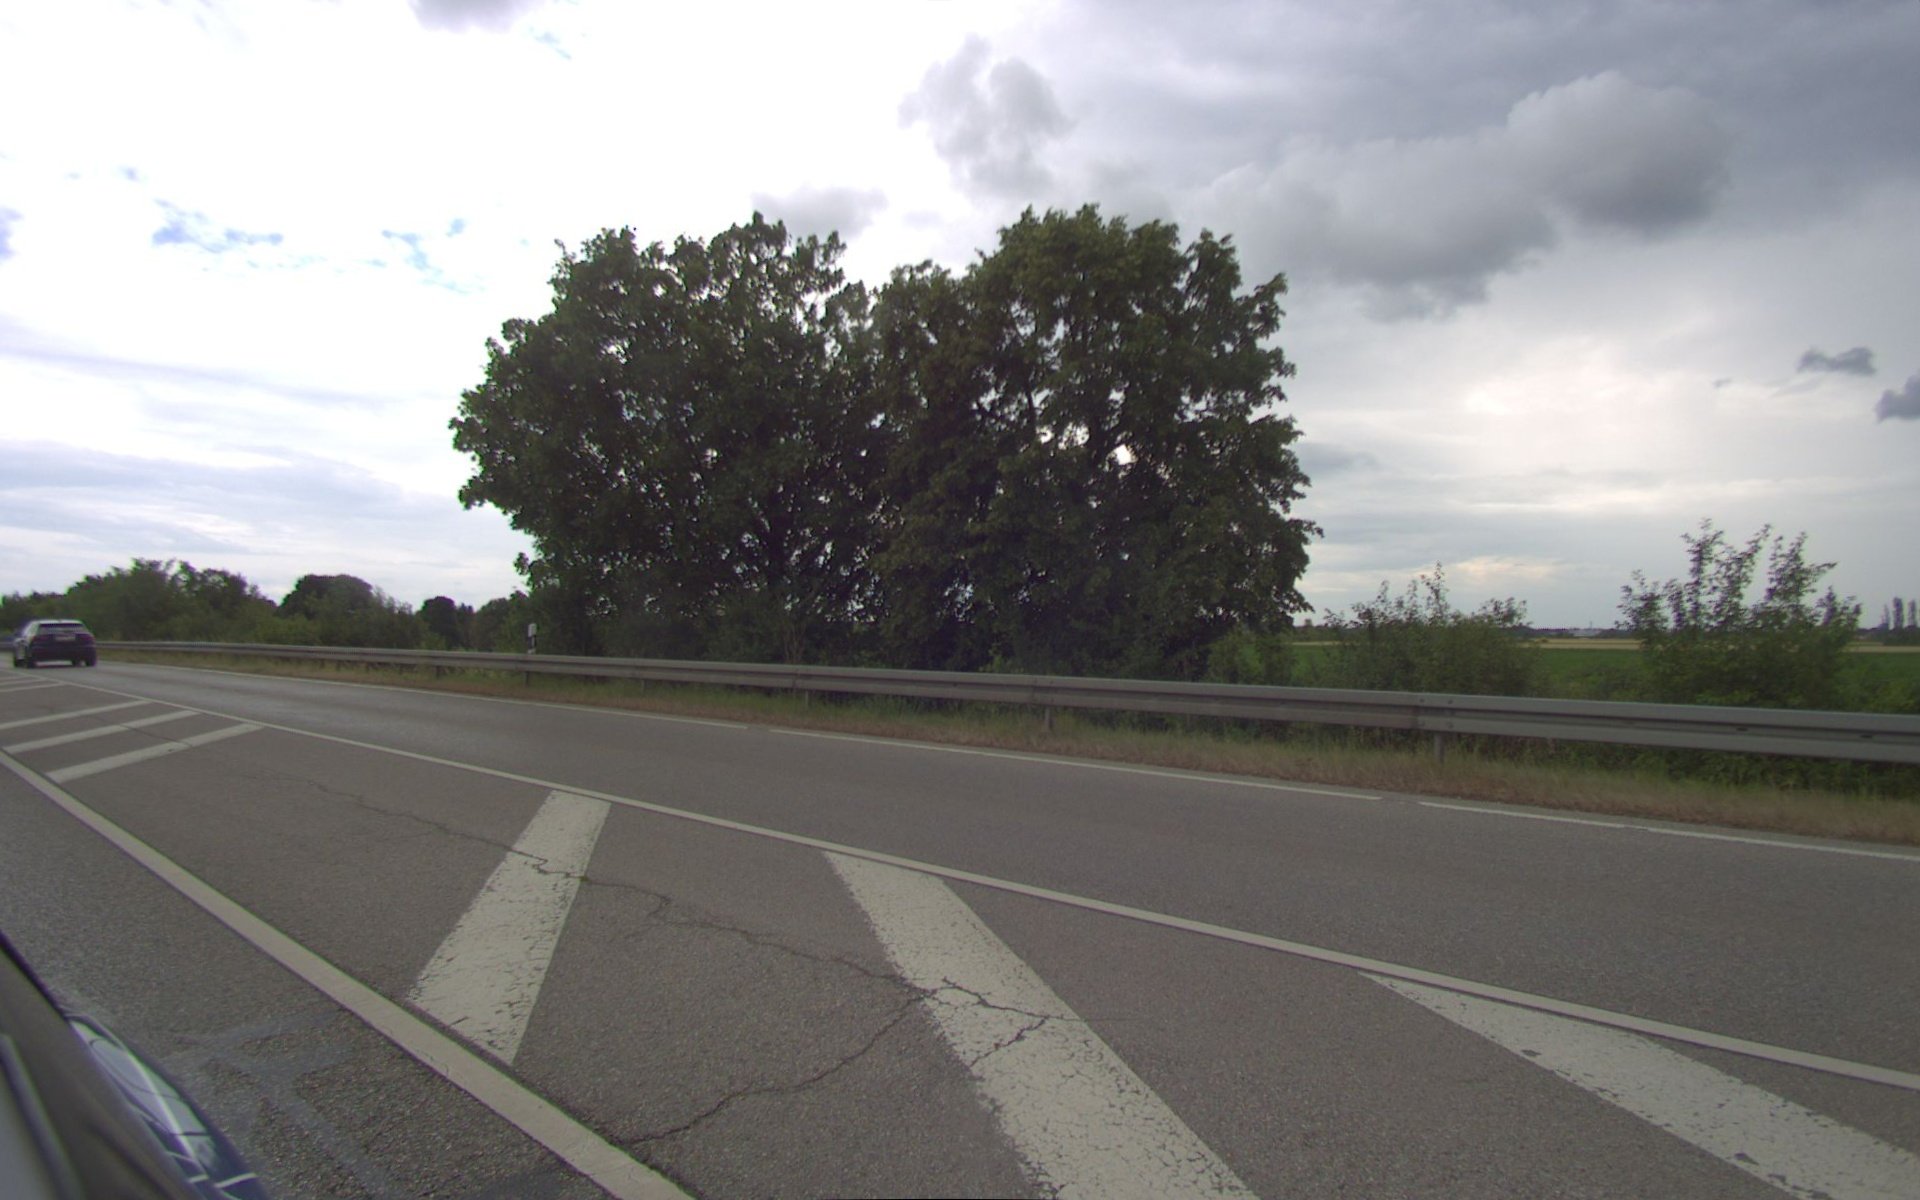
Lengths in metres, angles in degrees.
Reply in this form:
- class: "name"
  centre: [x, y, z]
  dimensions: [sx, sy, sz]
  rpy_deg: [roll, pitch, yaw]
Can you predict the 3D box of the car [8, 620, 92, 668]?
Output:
- class: "car"
  centre: [-31.374, 1.480, 34.854]
  dimensions: [4.207, 1.530, 1.692]
  rpy_deg: [-2, -1, 41]
